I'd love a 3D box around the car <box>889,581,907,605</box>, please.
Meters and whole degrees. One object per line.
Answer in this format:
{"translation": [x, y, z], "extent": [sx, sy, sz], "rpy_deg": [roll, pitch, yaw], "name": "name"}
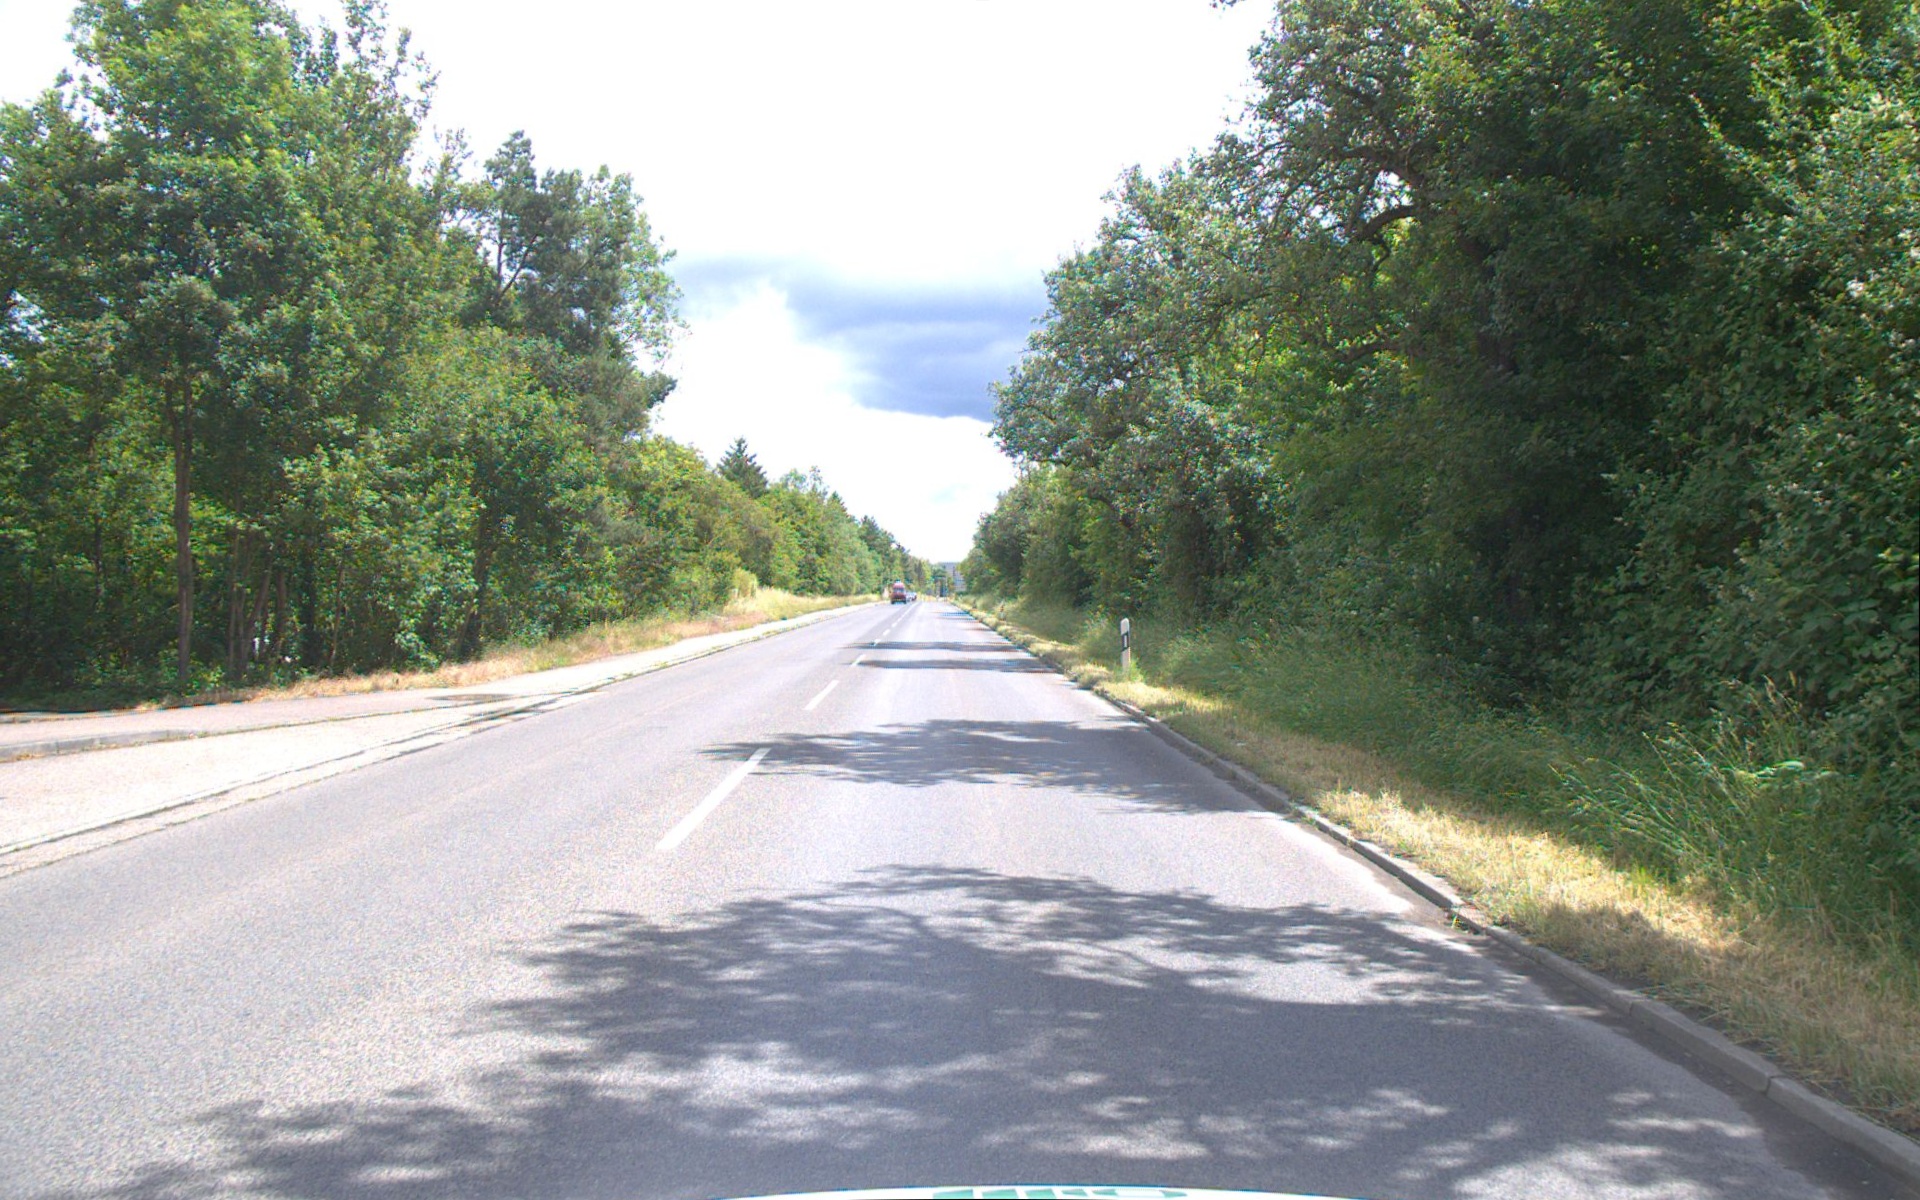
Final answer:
{"translation": [-7.214, -0.813, 193.420], "extent": [1.929, 2.594, 4.723], "rpy_deg": [-3, 0, -1], "name": "car"}
